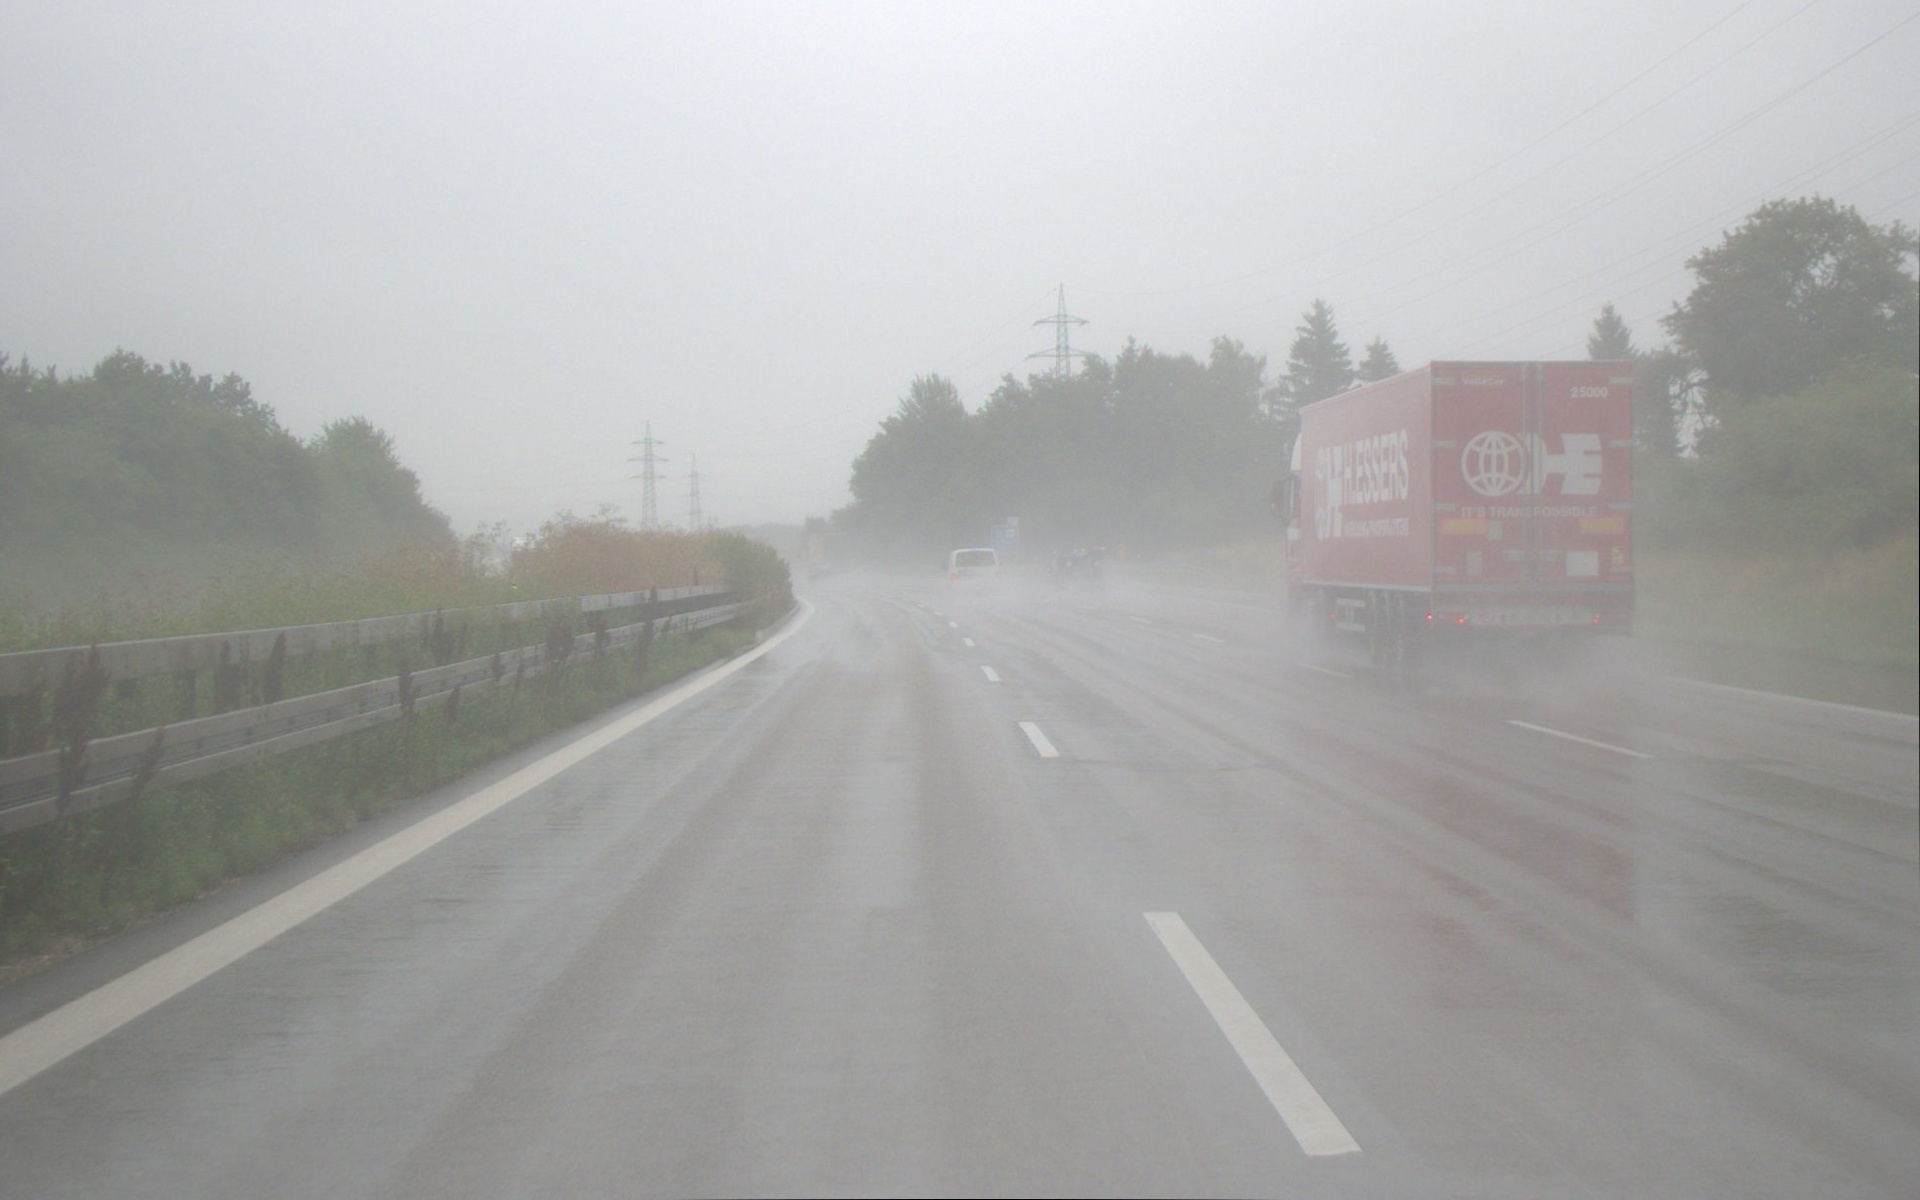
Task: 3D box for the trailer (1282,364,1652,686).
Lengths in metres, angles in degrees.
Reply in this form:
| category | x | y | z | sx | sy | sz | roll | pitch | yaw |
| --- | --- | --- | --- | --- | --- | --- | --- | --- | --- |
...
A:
| category | x | y | z | sx | sy | sz | roll | pitch | yaw |
| --- | --- | --- | --- | --- | --- | --- | --- | --- | --- |
| trailer | 7.024 | -1.025 | 50.112 | 2.620 | 3.942 | 13.632 | -3 | 1 | -3 |

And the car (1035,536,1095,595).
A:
| category | x | y | z | sx | sy | sz | roll | pitch | yaw |
| --- | --- | --- | --- | --- | --- | --- | --- | --- | --- |
| car | 4.005 | -1.321 | 131.345 | 1.807 | 2.151 | 4.001 | -2 | 1 | -4 |
